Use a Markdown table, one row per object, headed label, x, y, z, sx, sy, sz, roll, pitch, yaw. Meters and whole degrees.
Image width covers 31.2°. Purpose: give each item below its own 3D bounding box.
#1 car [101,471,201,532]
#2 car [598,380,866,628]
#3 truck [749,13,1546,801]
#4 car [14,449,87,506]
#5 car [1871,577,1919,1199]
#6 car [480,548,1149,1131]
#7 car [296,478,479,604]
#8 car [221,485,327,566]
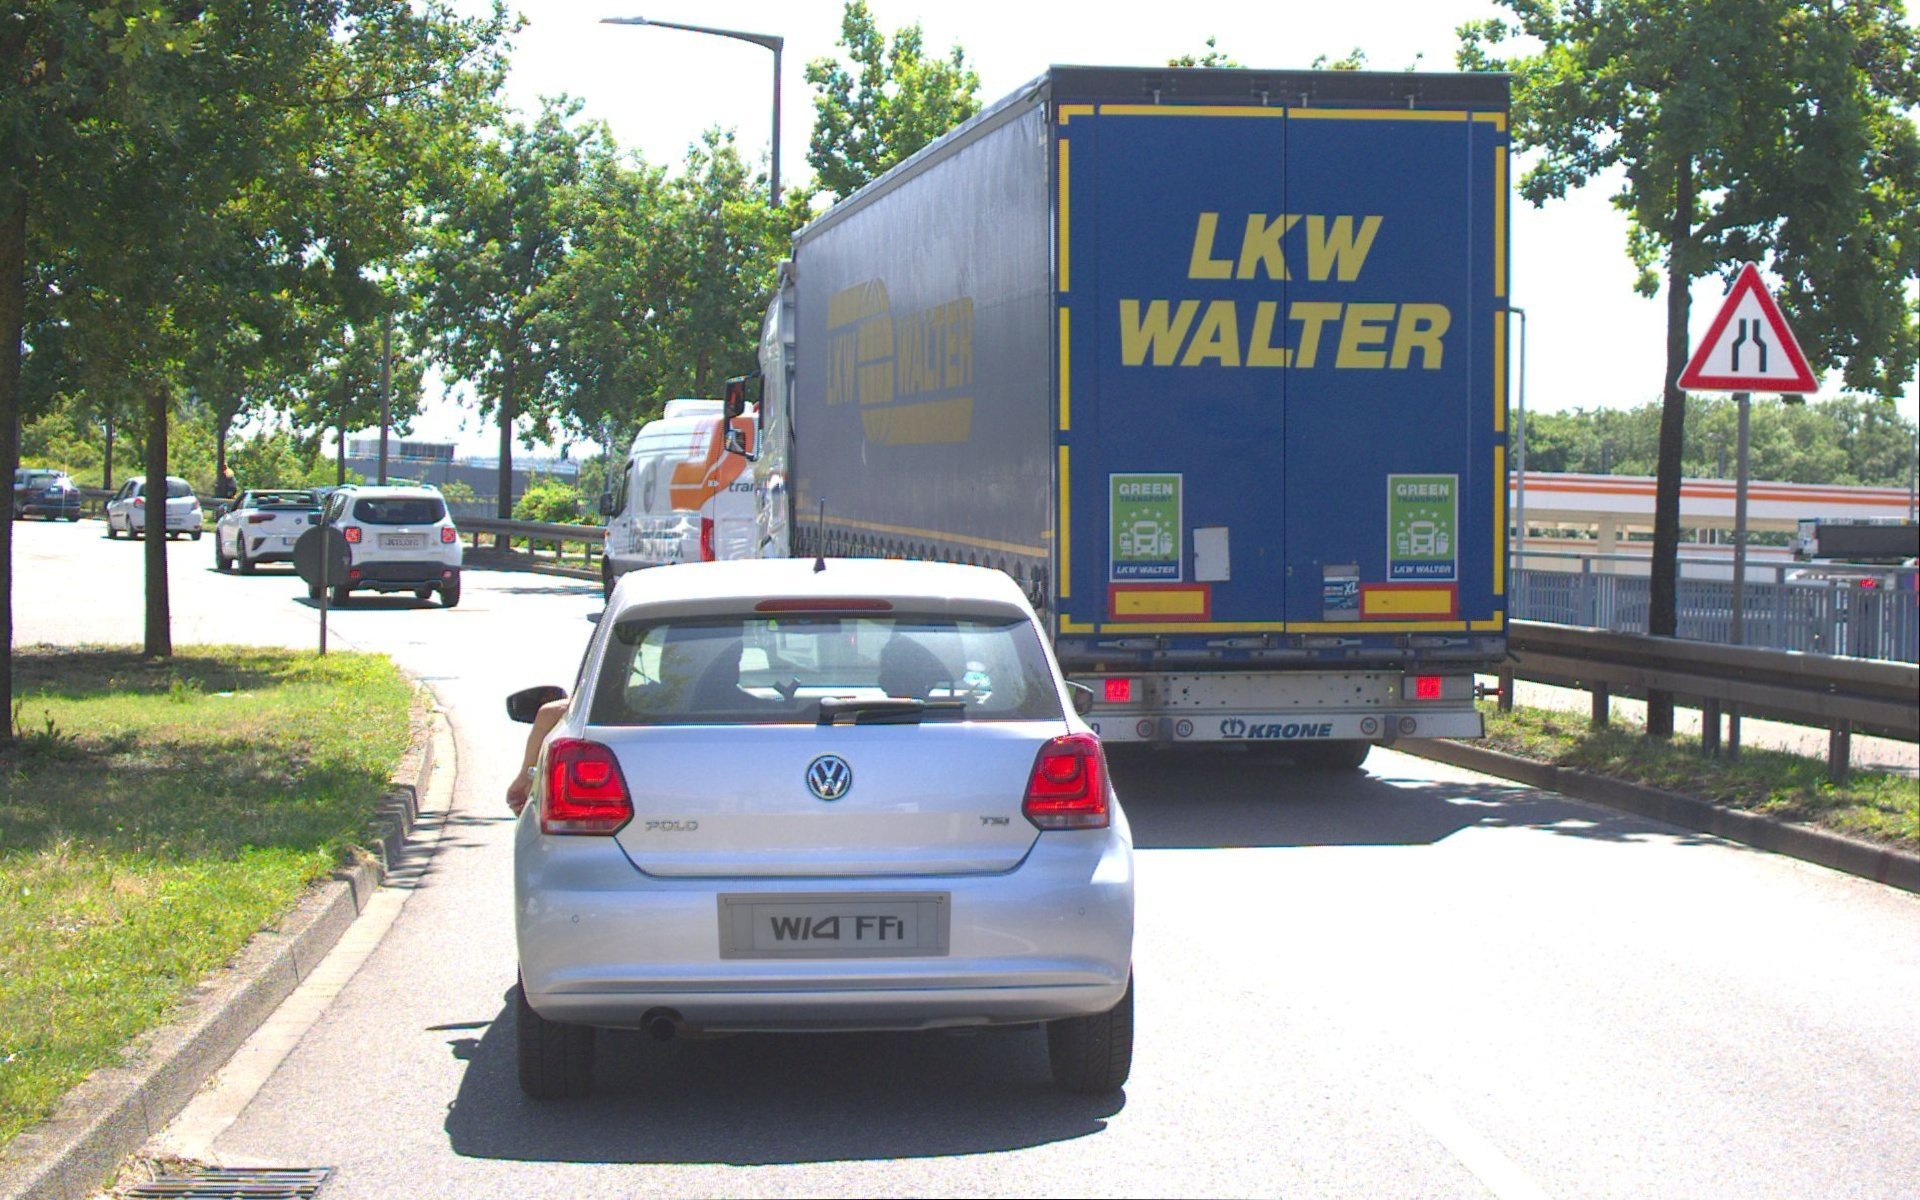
| label | x | y | z | sx | sy | sz | roll | pitch | yaw |
| --- | --- | --- | --- | --- | --- | --- | --- | --- | --- |
| car | -19.031 | -2.313 | 80.806 | 1.607 | 1.355 | 3.663 | 1 | 1 | -24 |
| car | -3.018 | -1.260 | 43.835 | 2.175 | 2.890 | 6.361 | 1 | 2 | -15 |
| truck | 0.529 | -1.201 | 26.699 | 2.832 | 4.184 | 16.479 | 1 | 1 | -9 |
| car | -25.336 | -3.387 | 95.711 | 1.664 | 1.460 | 3.582 | 1 | 0 | -19 |
| car | 2.808 | 0.709 | 4.954 | 1.604 | 1.451 | 4.236 | 1 | 0 | -4 |
| car | -0.423 | 0.585 | 10.345 | 1.646 | 1.434 | 3.537 | 1 | 0 | -2 |
| car | -8.269 | -0.833 | 49.385 | 1.903 | 1.712 | 4.225 | 1 | 0 | -19 |
| car | -12.129 | -1.322 | 60.685 | 1.494 | 1.355 | 3.664 | 1 | 1 | -16 |
